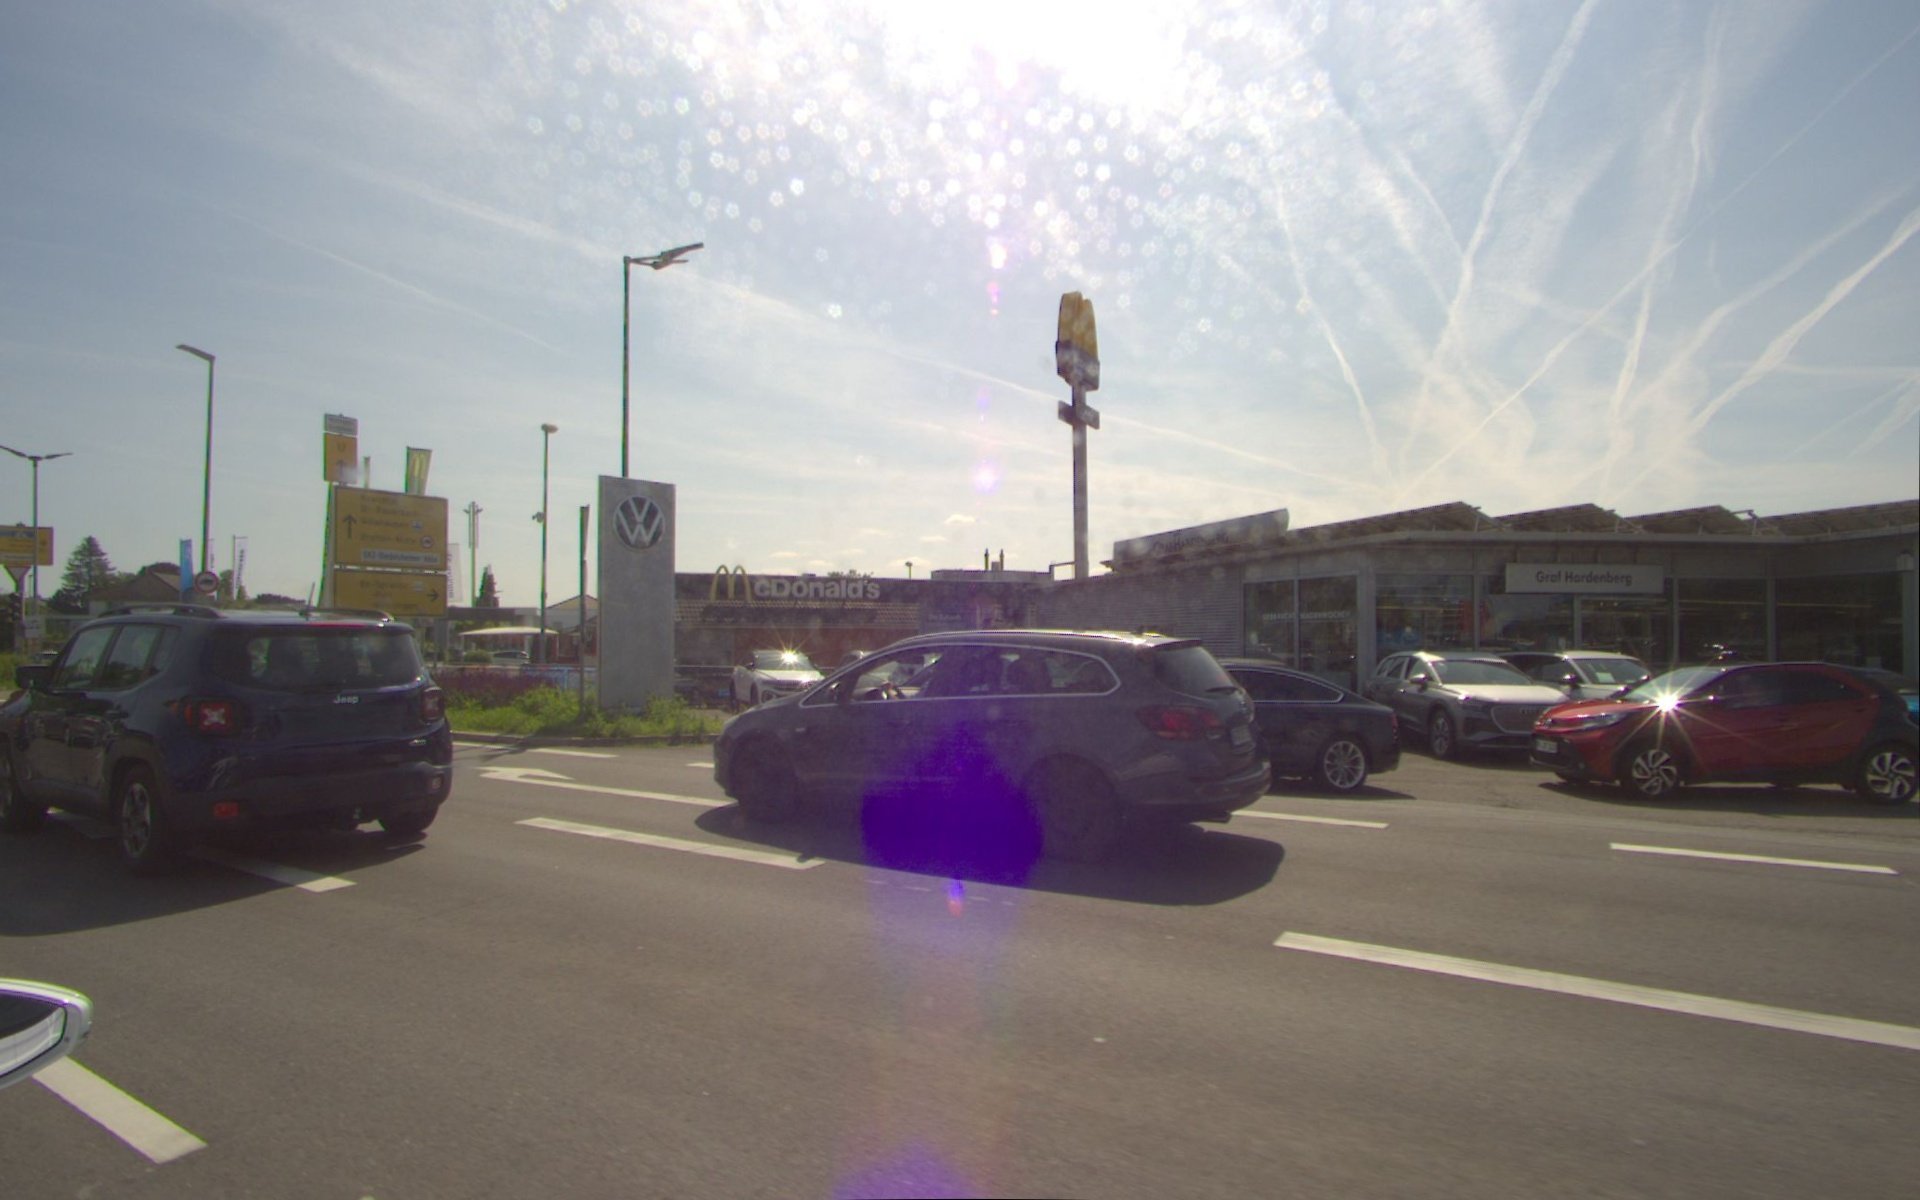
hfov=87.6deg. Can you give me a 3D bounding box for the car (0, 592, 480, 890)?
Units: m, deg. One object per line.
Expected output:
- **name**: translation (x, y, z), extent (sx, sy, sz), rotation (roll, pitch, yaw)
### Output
- **car**: translation (-5.548, 0.837, 7.442), extent (3.943, 1.676, 1.767), rotation (-1, -1, 32)

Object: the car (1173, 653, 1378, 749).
- **car**: translation (5.847, 1.816, 19.021), extent (1.721, 1.495, 3.785), rotation (0, -1, -22)

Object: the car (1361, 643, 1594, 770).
- **car**: translation (8.071, 1.589, 16.080), extent (1.741, 1.692, 4.026), rotation (0, -1, 2)

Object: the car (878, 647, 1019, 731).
- **car**: translation (-0.371, 1.867, 22.000), extent (1.747, 1.552, 4.078), rotation (0, -1, -22)

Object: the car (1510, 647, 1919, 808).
- **car**: translation (8.812, 1.389, 11.462), extent (3.998, 1.675, 1.777), rotation (0, -3, 7)

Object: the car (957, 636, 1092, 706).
- **car**: translation (1.674, 1.893, 27.910), extent (1.881, 1.692, 4.805), rotation (0, -1, -22)

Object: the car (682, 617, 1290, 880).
- **car**: translation (0.117, 0.918, 7.851), extent (4.384, 1.539, 1.990), rotation (-1, -1, 31)

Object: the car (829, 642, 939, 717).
- **car**: translation (-2.034, 1.971, 25.822), extent (1.747, 1.692, 3.899), rotation (0, -1, -22)

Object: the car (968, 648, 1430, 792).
- **car**: translation (2.628, 1.384, 11.387), extent (4.729, 1.347, 1.967), rotation (3, -6, -13)

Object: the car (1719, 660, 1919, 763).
- **car**: translation (15.349, 1.813, 16.786), extent (1.789, 1.428, 4.112), rotation (0, -1, -8)

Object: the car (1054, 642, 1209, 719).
- **car**: translation (3.860, 1.779, 23.212), extent (1.747, 1.538, 3.949), rotation (0, -1, -22)

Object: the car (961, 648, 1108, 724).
- **car**: translation (1.604, 1.901, 23.191), extent (1.767, 1.469, 4.143), rotation (0, -1, -22)

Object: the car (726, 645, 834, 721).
- **car**: translation (-4.574, 1.977, 24.945), extent (1.830, 1.596, 4.221), rotation (0, -1, -22)

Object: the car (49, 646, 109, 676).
- **car**: translation (-50.656, 3.509, 57.661), extent (1.756, 1.594, 3.692), rotation (3, -4, -29)

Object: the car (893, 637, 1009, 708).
- **car**: translation (-0.347, 1.883, 27.021), extent (1.747, 1.692, 4.158), rotation (0, -1, -22)

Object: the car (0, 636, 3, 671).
- **car**: translation (-44.627, 2.326, 44.361), extent (1.969, 1.594, 3.988), rotation (3, -4, -25)

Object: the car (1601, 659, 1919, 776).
- **car**: translation (12.900, 1.779, 16.284), extent (1.858, 1.476, 4.210), rotation (0, -1, -8)

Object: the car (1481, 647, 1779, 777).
- **car**: translation (10.431, 1.656, 16.015), extent (1.884, 1.692, 4.000), rotation (0, -1, -5)
